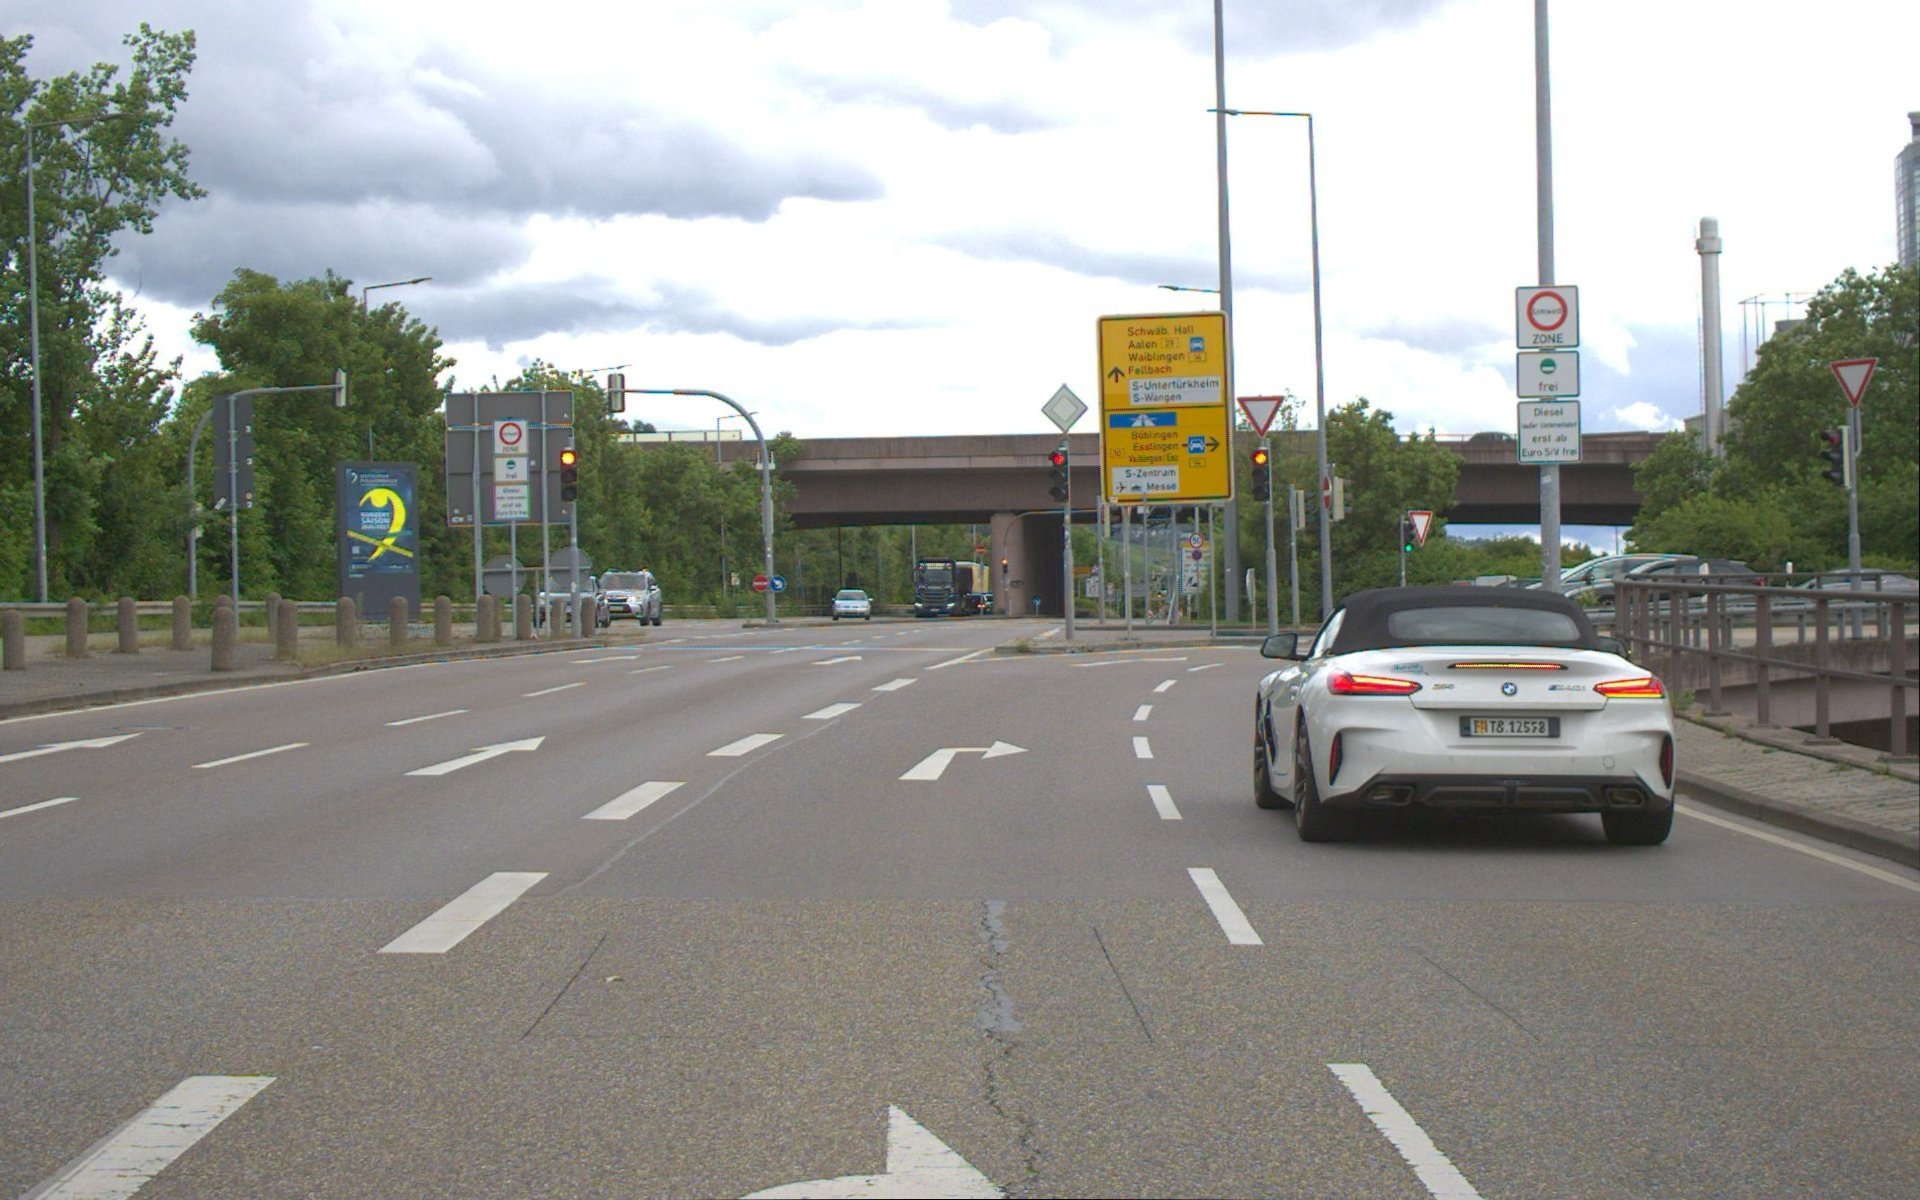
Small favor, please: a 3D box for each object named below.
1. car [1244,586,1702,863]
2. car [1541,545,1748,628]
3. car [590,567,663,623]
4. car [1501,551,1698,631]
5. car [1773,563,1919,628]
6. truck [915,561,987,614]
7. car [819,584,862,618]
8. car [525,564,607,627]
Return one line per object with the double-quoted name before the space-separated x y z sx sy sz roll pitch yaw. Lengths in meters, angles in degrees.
"car" 2.615 0.587 18.407 1.875 1.305 3.873 0 0 0
"car" 15.559 -0.292 78.300 4.372 1.752 2.000 -1 -1 4
"car" -9.899 -0.160 102.195 1.771 1.627 3.825 1 0 0
"car" 15.235 -0.203 82.070 4.372 1.752 2.000 -1 -1 4
"car" 23.531 -0.113 89.361 4.372 1.565 2.000 -1 -1 4
"truck" -0.507 -0.741 209.976 2.924 3.135 10.108 1 0 8
"car" -5.627 0.020 162.780 1.741 1.532 3.671 0 1 3
"car" -10.673 -0.143 93.296 1.771 1.639 3.825 1 0 0
